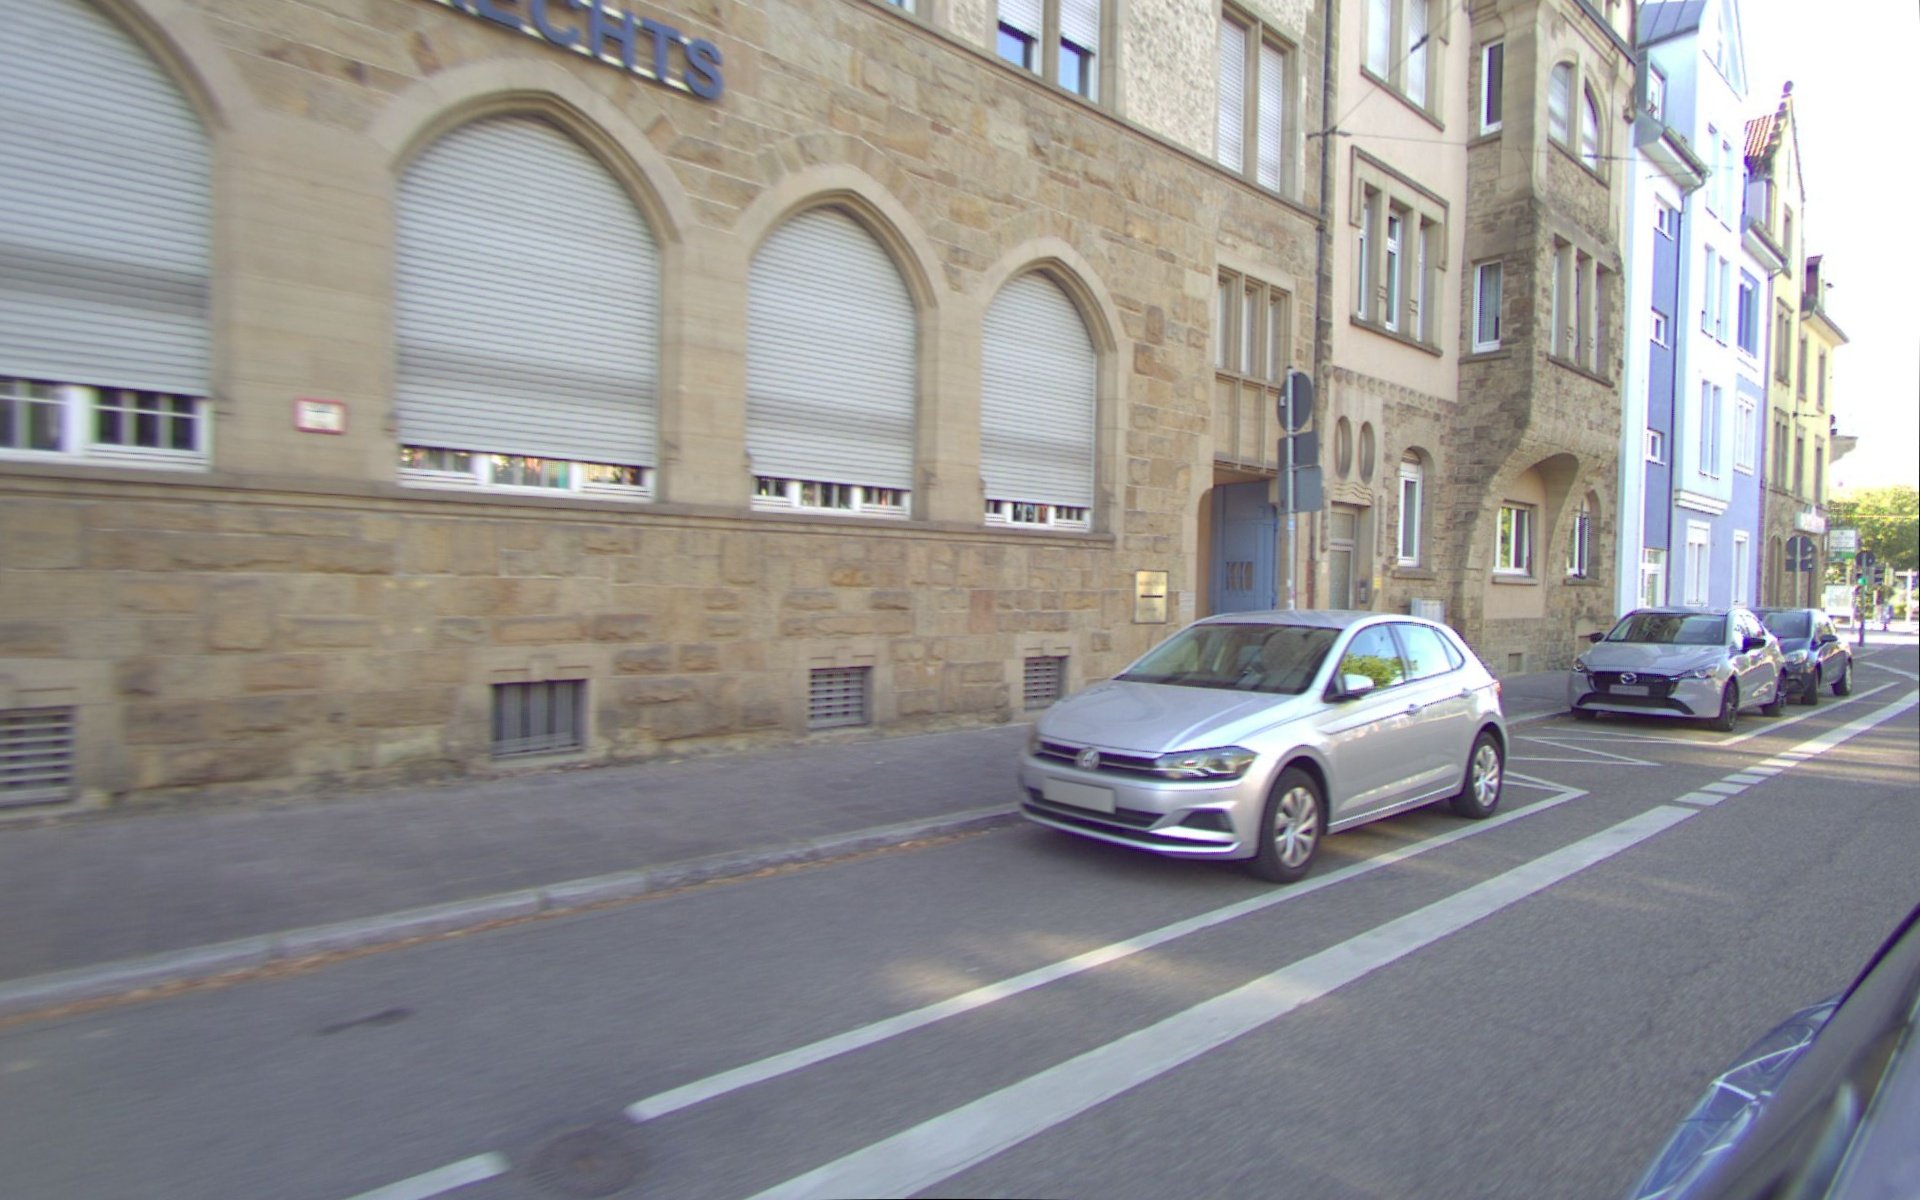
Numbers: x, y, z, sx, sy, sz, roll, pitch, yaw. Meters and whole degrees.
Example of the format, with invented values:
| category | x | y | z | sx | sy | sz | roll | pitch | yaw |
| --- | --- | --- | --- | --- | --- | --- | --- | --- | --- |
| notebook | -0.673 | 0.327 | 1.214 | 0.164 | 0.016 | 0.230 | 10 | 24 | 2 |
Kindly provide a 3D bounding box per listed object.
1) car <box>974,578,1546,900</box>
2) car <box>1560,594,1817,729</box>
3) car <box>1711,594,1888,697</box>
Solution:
| category | x | y | z | sx | sy | sz | roll | pitch | yaw |
| --- | --- | --- | --- | --- | --- | --- | --- | --- | --- |
| car | 2.209 | 0.656 | 6.793 | 4.151 | 1.520 | 1.717 | 0 | 0 | -41 |
| car | 9.730 | 0.689 | 13.405 | 4.120 | 1.520 | 1.756 | 0 | 0 | -39 |
| car | 13.987 | 0.660 | 16.798 | 3.930 | 1.501 | 1.658 | 0 | 1 | -41 |
